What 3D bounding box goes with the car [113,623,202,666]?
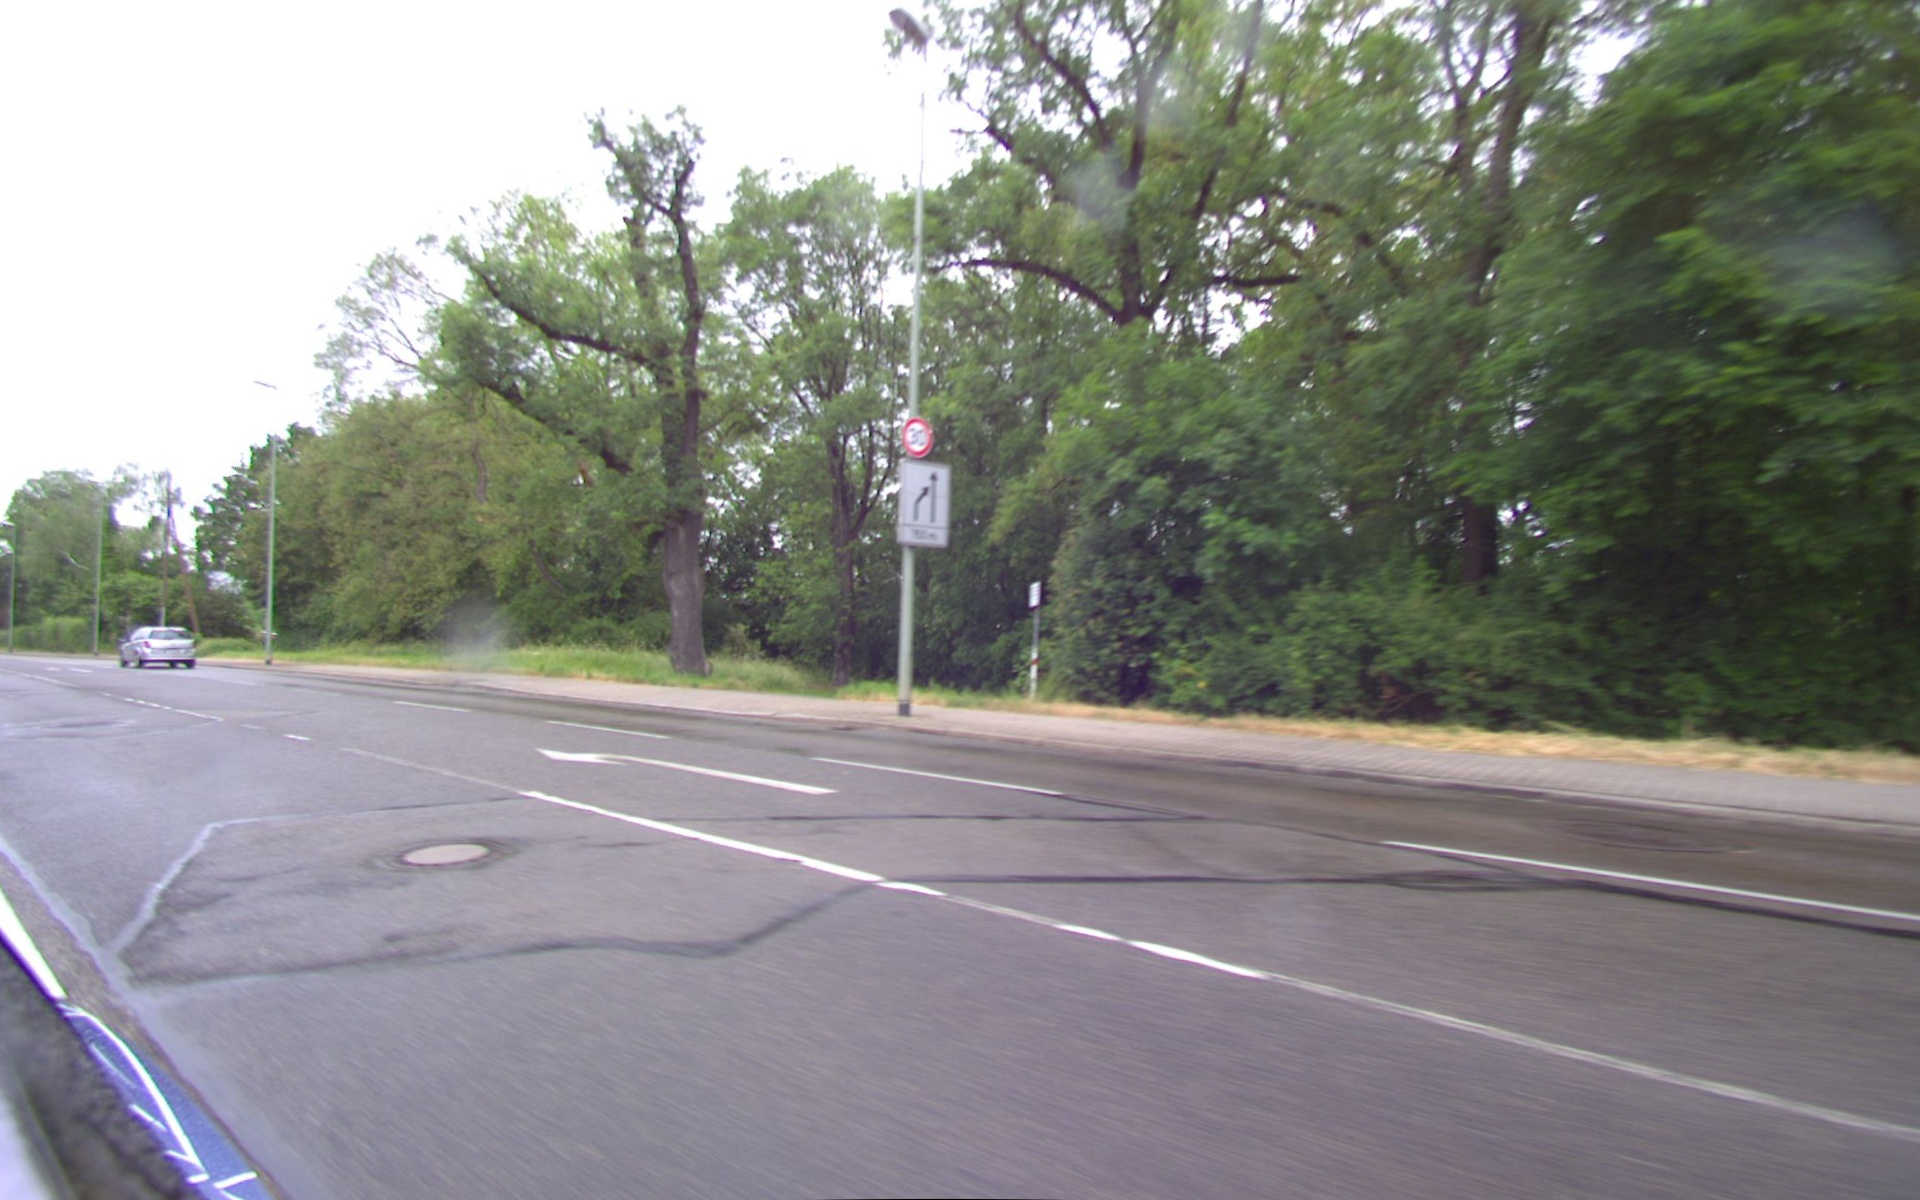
[{"bbox_3d":[-29.435,1.619,37.077,4.449,1.494,1.672,-2,-4,41],"label":"car"}]
